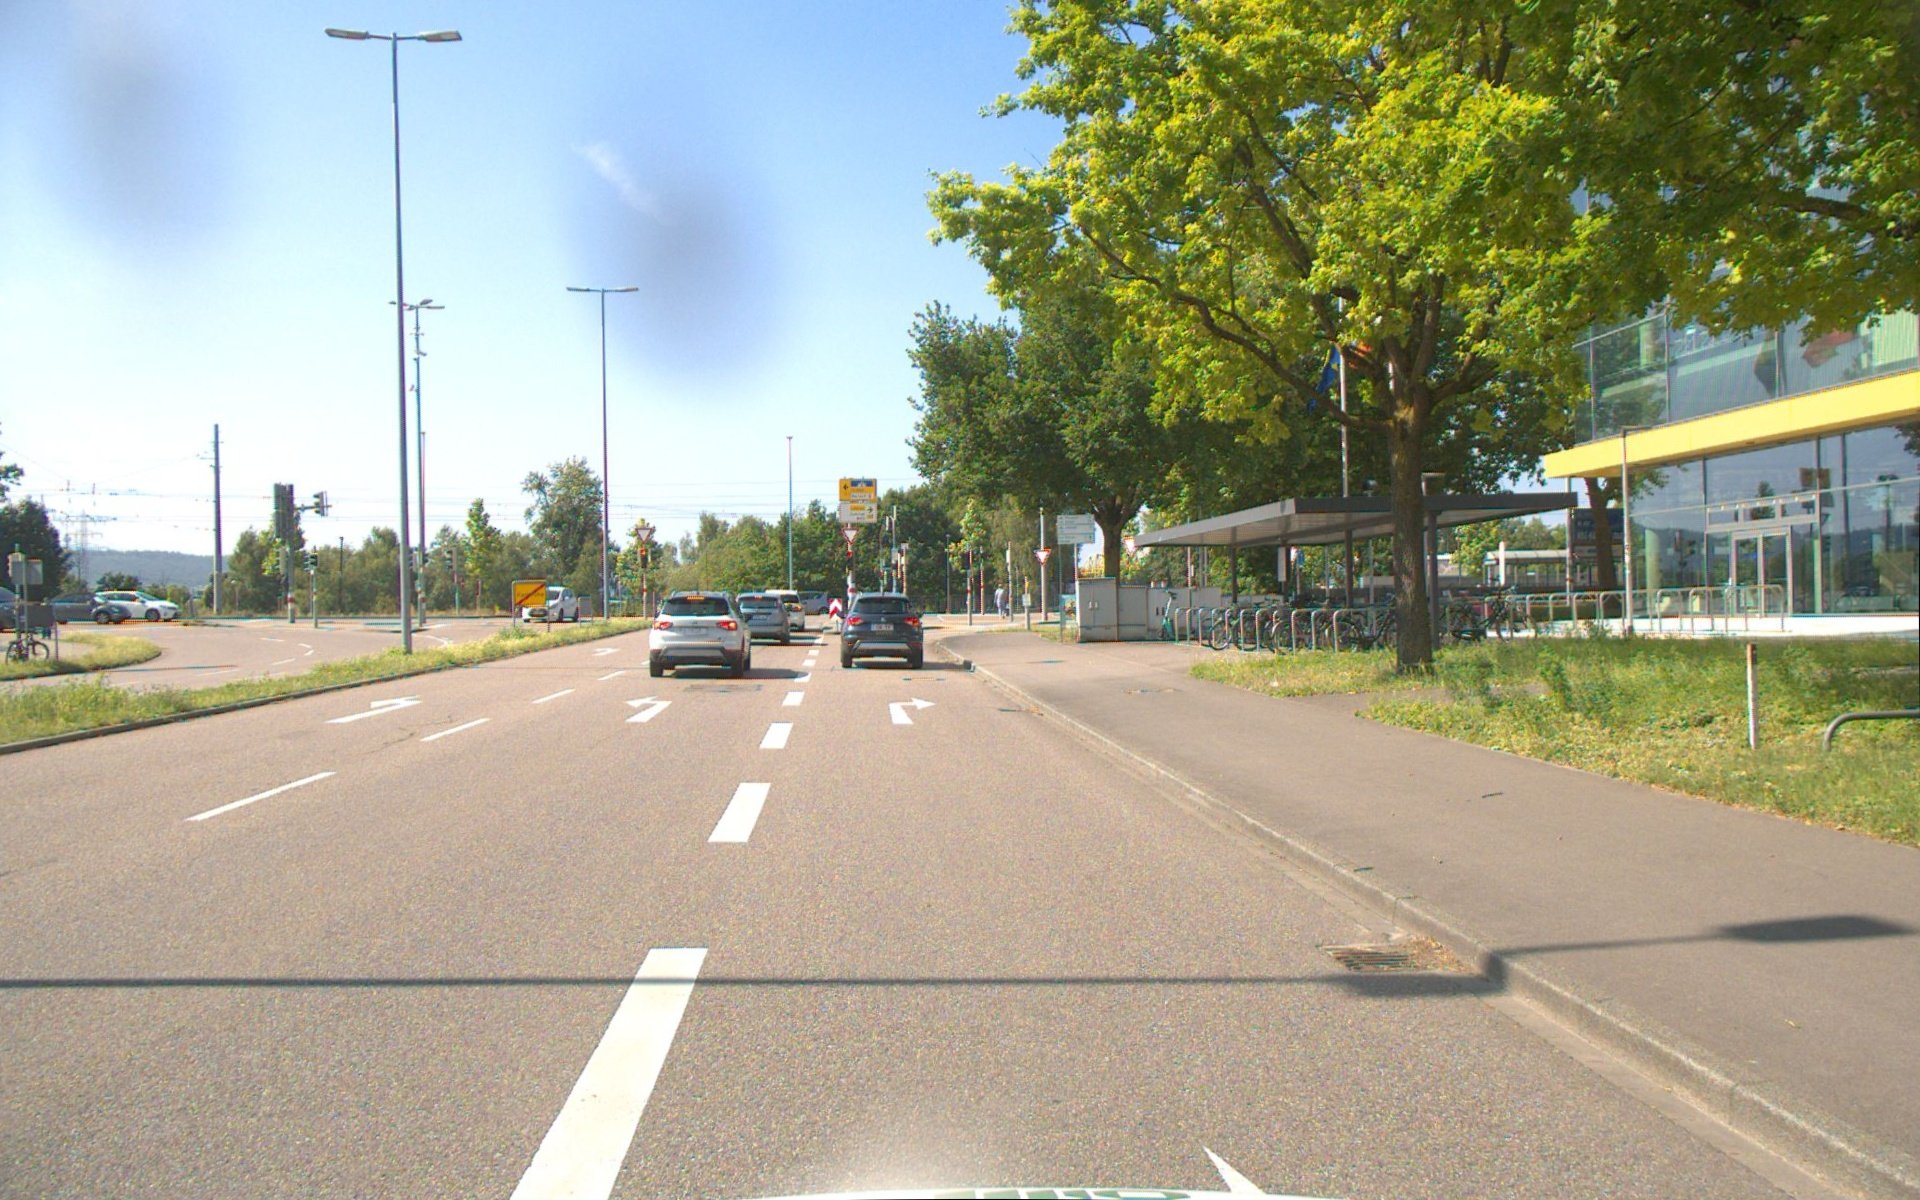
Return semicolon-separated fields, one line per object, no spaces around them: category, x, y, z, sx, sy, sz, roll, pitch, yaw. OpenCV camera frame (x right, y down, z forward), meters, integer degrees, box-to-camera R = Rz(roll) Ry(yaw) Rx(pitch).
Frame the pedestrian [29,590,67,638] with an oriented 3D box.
pedestrian;-34.113;0.511;61.874;0.822;1.736;0.906;-2;0;8

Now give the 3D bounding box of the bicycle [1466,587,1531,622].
bicycle;13.810;0.120;42.438;1.530;0.858;0.433;-1;0;-3

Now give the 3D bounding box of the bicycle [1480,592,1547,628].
bicycle;13.831;0.244;41.322;1.530;0.858;0.433;-1;0;-3

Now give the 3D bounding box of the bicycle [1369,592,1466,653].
bicycle;8.744;0.428;31.623;1.724;1.115;0.452;-2;0;-4

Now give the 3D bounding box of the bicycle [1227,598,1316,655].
bicycle;6.409;0.538;34.068;1.724;1.115;0.452;-2;0;-4

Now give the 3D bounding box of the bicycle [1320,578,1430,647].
bicycle;7.069;0.210;28.184;1.724;1.115;0.452;-2;0;-4

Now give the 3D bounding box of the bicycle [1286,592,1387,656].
bicycle;6.932;0.431;30.470;1.724;1.115;0.452;-2;0;-4

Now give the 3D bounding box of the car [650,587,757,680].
car;-4.785;0.586;31.260;1.598;1.524;3.868;0;2;-3

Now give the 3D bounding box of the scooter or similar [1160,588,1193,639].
scooter or similar;5.575;0.352;42.582;0.762;1.287;0.283;-2;0;-7

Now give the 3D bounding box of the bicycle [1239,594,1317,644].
bicycle;7.501;0.434;38.994;1.724;1.115;0.452;-2;0;-4

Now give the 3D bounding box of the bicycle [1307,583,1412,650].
bicycle;7.024;0.290;29.117;1.724;1.115;0.463;-2;0;-4

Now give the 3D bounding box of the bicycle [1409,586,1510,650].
bicycle;9.188;0.331;30.449;1.724;1.115;0.452;-2;0;-4

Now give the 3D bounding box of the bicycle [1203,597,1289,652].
bicycle;6.097;0.515;35.301;1.724;1.115;0.452;-2;0;-4

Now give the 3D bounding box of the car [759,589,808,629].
car;-6.748;0.307;63.675;1.707;1.473;4.385;0;0;-4

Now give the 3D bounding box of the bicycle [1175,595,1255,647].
bicycle;5.815;0.478;37.707;1.724;1.115;0.452;-2;0;-4

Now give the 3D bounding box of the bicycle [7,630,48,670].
bicycle;-24.787;1.334;43.972;0.324;1.040;1.641;-2;-2;-7

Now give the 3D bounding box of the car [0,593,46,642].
car;-40.679;0.695;69.476;3.903;1.959;1.818;1;1;18

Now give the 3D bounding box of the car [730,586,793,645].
car;-5.796;0.429;48.612;1.673;1.600;4.169;1;0;-5

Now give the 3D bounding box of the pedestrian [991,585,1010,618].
pedestrian;1.952;0.050;79.482;0.756;1.537;1.008;-1;1;7

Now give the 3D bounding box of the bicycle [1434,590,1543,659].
bicycle;9.070;0.413;28.399;1.724;1.115;0.452;-2;0;-4

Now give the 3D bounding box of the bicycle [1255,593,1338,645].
bicycle;7.667;0.432;37.700;1.793;1.115;0.452;-2;0;-4

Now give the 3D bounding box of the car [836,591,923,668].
car;-1.761;0.596;35.129;1.638;1.550;3.372;0;0;-7

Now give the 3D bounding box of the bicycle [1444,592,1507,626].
bicycle;13.734;0.237;44.092;1.530;0.858;0.433;-1;0;-3

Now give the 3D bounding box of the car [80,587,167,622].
car;-39.231;0.225;77.629;3.321;1.526;1.407;-1;-1;-7

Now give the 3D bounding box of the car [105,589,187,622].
car;-39.748;0.282;80.835;3.281;1.526;1.407;-1;-1;-8

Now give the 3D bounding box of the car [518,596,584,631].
car;-19.158;0.639;77.692;1.756;1.574;4.089;-1;0;5

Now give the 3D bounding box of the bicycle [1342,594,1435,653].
bicycle;8.552;0.461;33.059;1.724;1.115;0.452;-2;0;-4

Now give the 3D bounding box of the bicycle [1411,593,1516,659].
bicycle;8.959;0.456;29.457;1.724;1.115;0.452;-2;0;-4

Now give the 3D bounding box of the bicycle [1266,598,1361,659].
bicycle;6.806;0.542;31.861;1.724;1.115;0.452;-2;0;-4

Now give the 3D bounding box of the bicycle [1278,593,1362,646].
bicycle;7.912;0.423;36.387;1.724;1.115;0.452;-2;0;-4

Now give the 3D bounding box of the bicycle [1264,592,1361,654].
bicycle;6.677;0.423;31.381;1.724;1.115;0.452;-2;0;-4

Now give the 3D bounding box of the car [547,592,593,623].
car;-13.520;0.251;57.434;1.095;1.021;2.491;-1;0;-2

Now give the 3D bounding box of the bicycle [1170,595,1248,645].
bicycle;5.828;0.462;38.710;1.724;1.115;0.452;-2;0;-4

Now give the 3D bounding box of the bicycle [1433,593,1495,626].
bicycle;13.668;0.251;44.883;1.530;0.858;0.433;-1;0;-3
